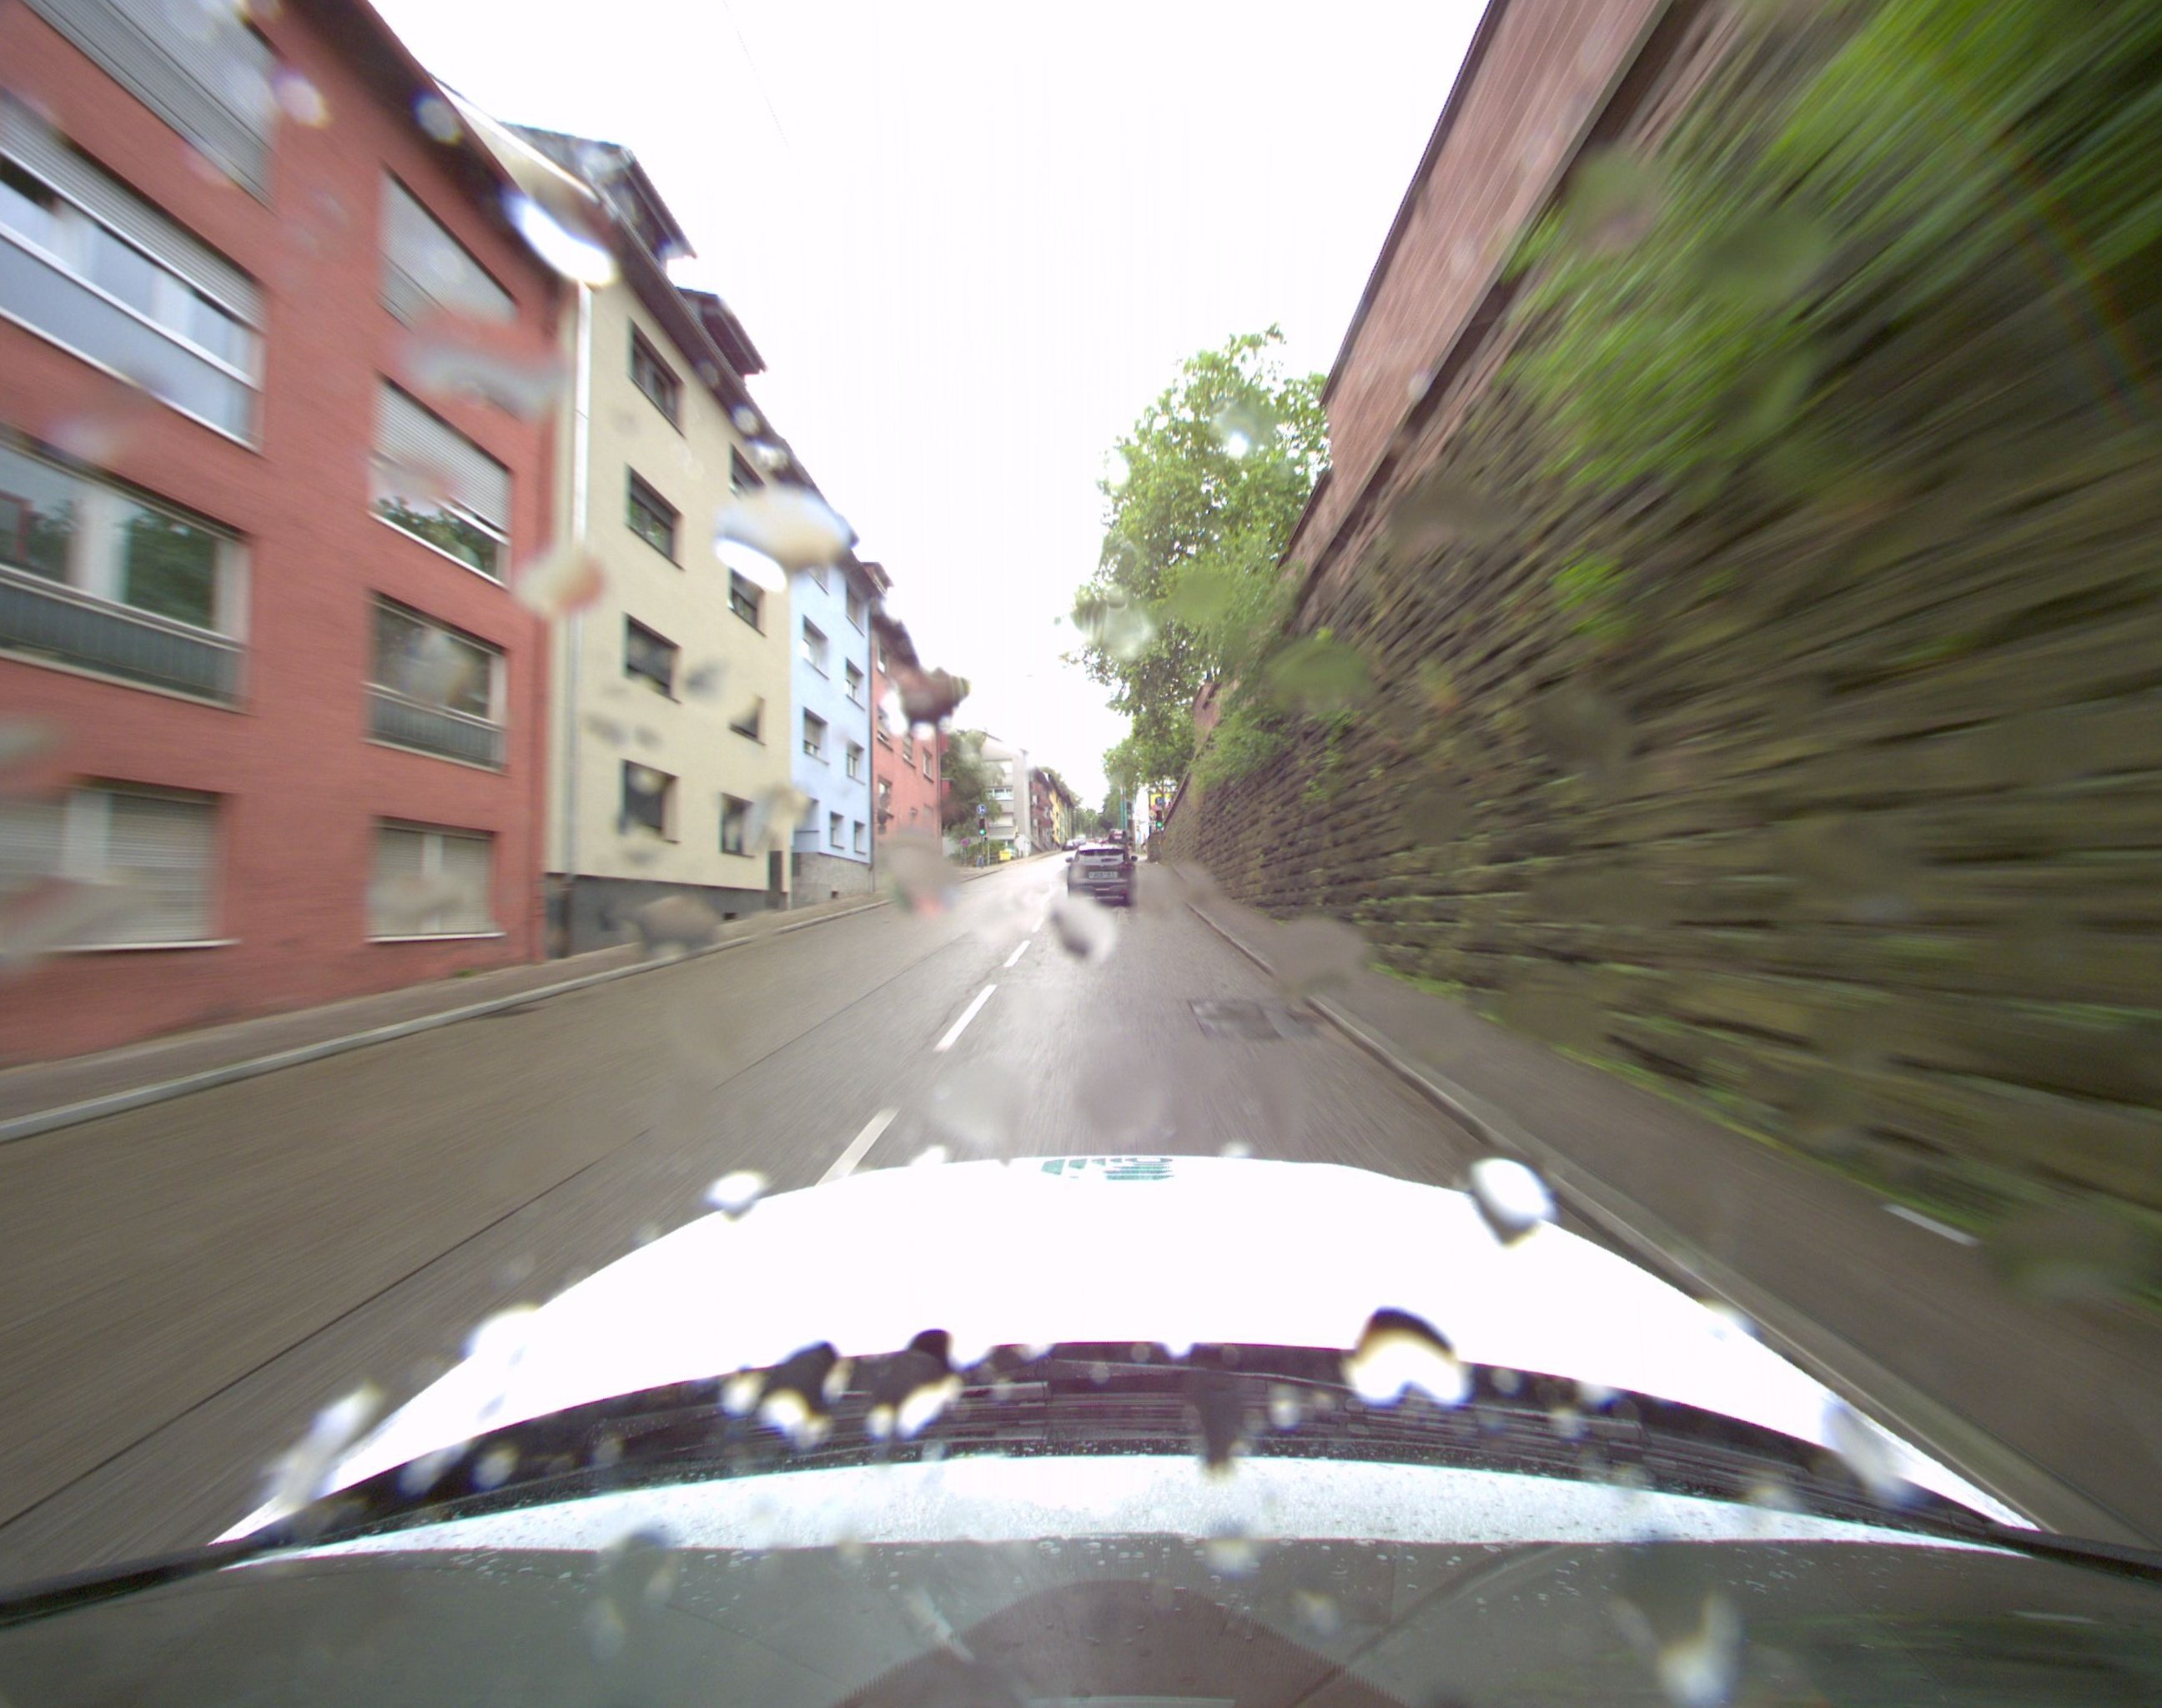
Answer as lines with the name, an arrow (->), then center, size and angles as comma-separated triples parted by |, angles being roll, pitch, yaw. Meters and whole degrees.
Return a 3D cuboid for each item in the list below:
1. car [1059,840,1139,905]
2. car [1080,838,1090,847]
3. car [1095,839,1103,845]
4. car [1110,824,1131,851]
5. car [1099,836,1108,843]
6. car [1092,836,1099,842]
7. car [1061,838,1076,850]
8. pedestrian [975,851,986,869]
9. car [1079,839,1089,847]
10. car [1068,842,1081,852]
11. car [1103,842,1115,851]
car -> 0.517, 0.440, 22.409 | 1.986, 1.559, 4.002 | 0, 2, 2
car -> 0.916, -2.454, 175.384 | 1.983, 1.755, 4.481 | -2, 1, 1
car -> 4.926, -3.202, 218.698 | 2.067, 1.559, 4.001 | -1, 1, 1
car -> 3.969, -1.617, 80.616 | 1.985, 2.414, 5.842 | -1, -1, 4
car -> 5.287, -3.306, 190.511 | 2.067, 1.559, 4.001 | -1, 1, 1
car -> 4.407, -4.582, 247.563 | 2.067, 1.559, 4.001 | -1, 1, 1
car -> -1.914, -1.574, 128.195 | 1.984, 1.649, 4.447 | -2, 1, 4
pedestrian -> -9.118, 0.537, 73.596 | 0.867, 1.541, 1.087 | 0, -1, -1
car -> 0.648, -2.288, 168.175 | 1.983, 1.585, 4.306 | -2, 1, 1
car -> -1.145, -1.319, 144.595 | 1.984, 1.649, 4.447 | -2, 1, 4
car -> 5.327, -1.359, 153.502 | 2.068, 1.559, 4.000 | -1, 1, 0
